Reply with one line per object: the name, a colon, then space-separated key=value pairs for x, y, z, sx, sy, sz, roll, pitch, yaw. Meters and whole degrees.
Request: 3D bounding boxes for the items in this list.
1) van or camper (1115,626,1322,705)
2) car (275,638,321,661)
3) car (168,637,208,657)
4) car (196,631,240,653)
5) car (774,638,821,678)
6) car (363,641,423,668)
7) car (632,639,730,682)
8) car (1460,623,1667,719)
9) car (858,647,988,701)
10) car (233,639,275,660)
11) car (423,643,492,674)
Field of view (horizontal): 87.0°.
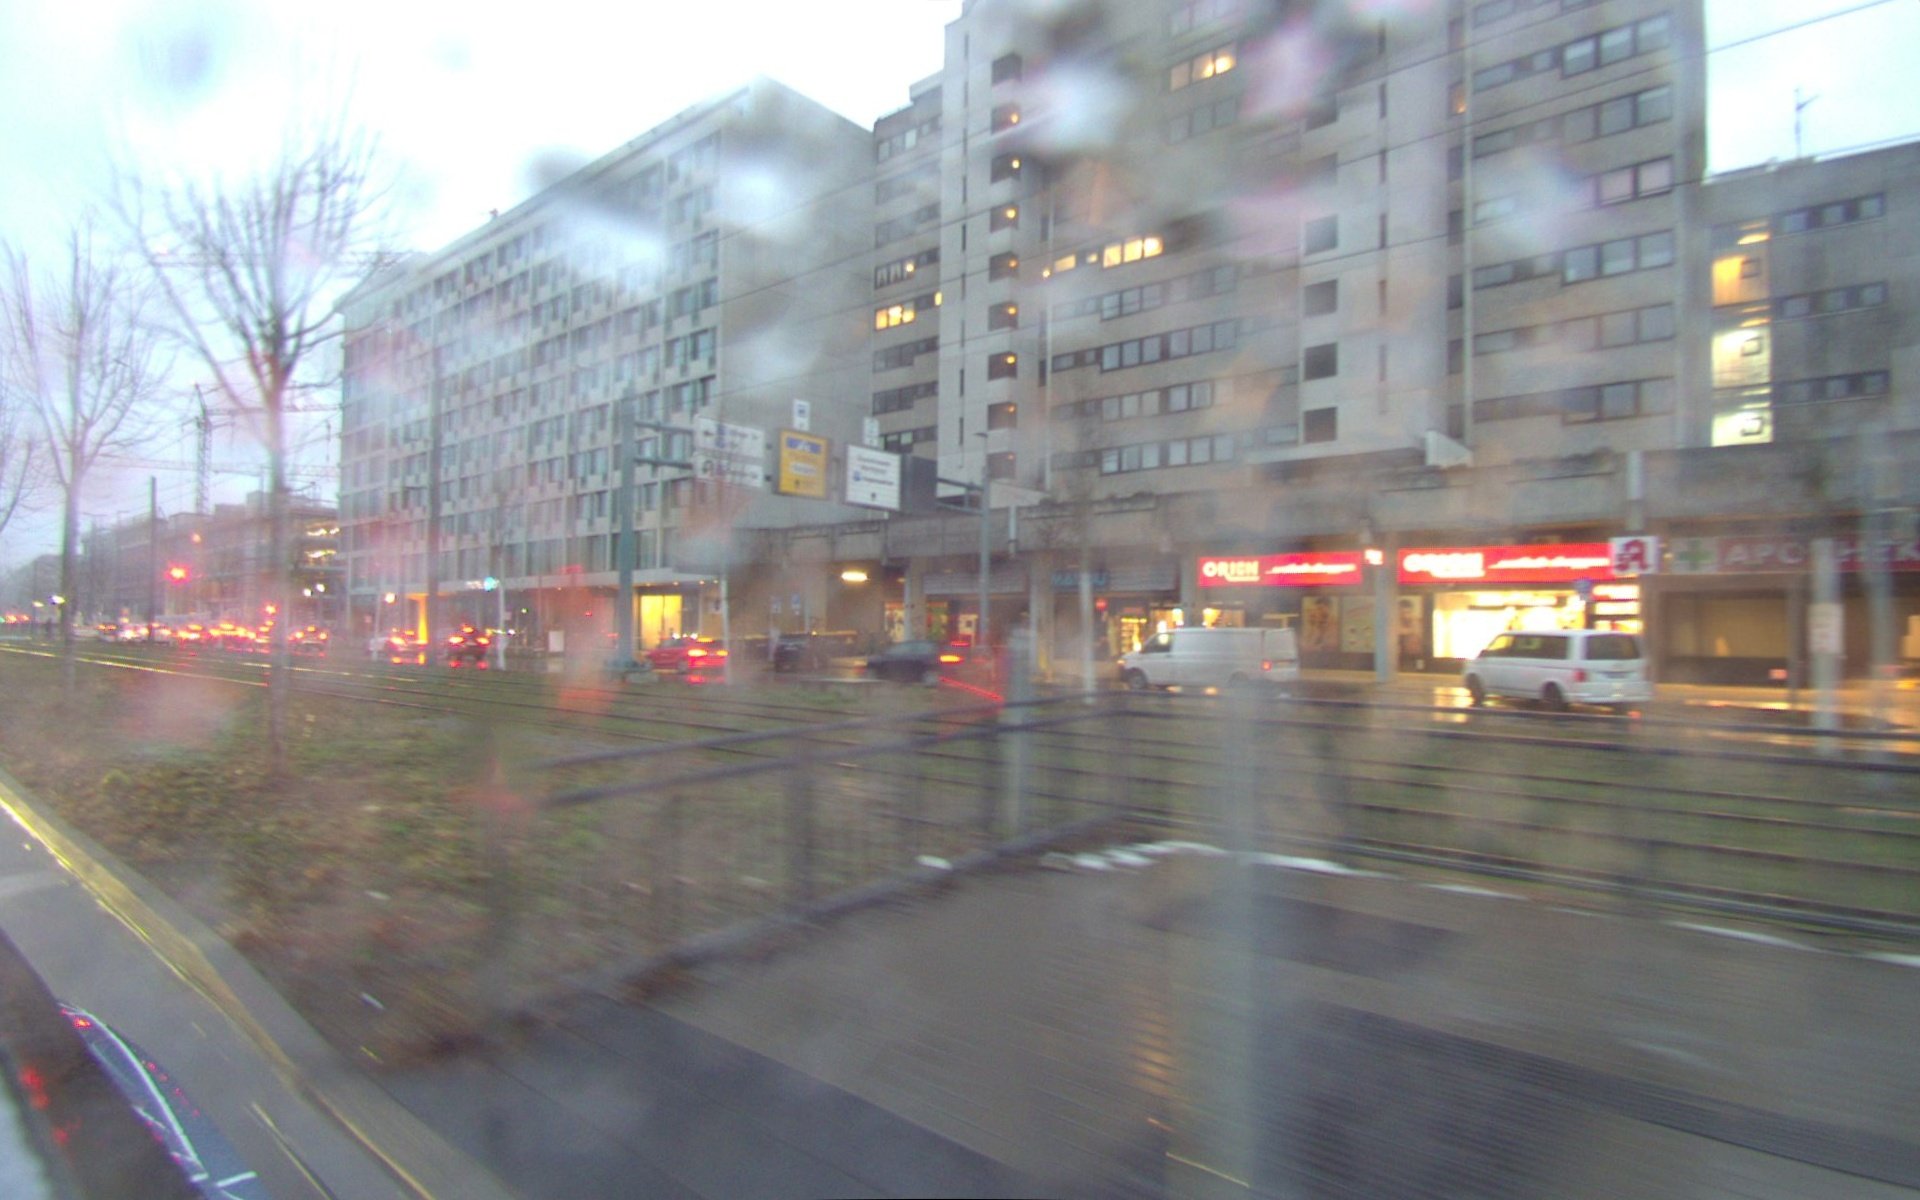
van or camper: x=7.497 y=1.834 z=29.814 sx=5.651 sy=2.113 sz=1.973 roll=-2 pitch=-3 yaw=41
car: x=-45.064 y=3.367 z=68.864 sx=3.870 sy=1.460 sz=1.576 roll=-1 pitch=-2 yaw=40
car: x=-57.869 y=3.497 z=75.839 sx=3.870 sy=1.460 sz=1.576 roll=-1 pitch=-2 yaw=40
car: x=-51.830 y=2.908 z=70.646 sx=3.870 sy=1.460 sz=1.576 roll=-1 pitch=-2 yaw=40
car: x=-6.985 y=2.469 z=43.757 sx=1.656 sy=1.630 sz=3.781 roll=0 pitch=-2 yaw=-4
car: x=-32.526 y=3.100 z=58.048 sx=3.870 sy=1.460 sz=1.732 roll=-1 pitch=-2 yaw=40
car: x=-10.828 y=2.315 z=39.187 sx=3.887 sy=1.523 sz=1.732 roll=-1 pitch=-2 yaw=40
car: x=14.666 y=1.650 z=24.974 sx=1.969 sy=2.029 sz=4.580 roll=0 pitch=0 yaw=-7
car: x=-1.154 y=2.188 z=30.532 sx=3.764 sy=1.460 sz=1.656 roll=-1 pitch=-2 yaw=40
car: x=-52.237 y=3.658 z=74.875 sx=3.870 sy=1.460 sz=1.576 roll=-1 pitch=-2 yaw=40
car: x=-25.777 y=2.962 z=51.900 sx=3.870 sy=1.460 sz=1.732 roll=-1 pitch=-2 yaw=40
